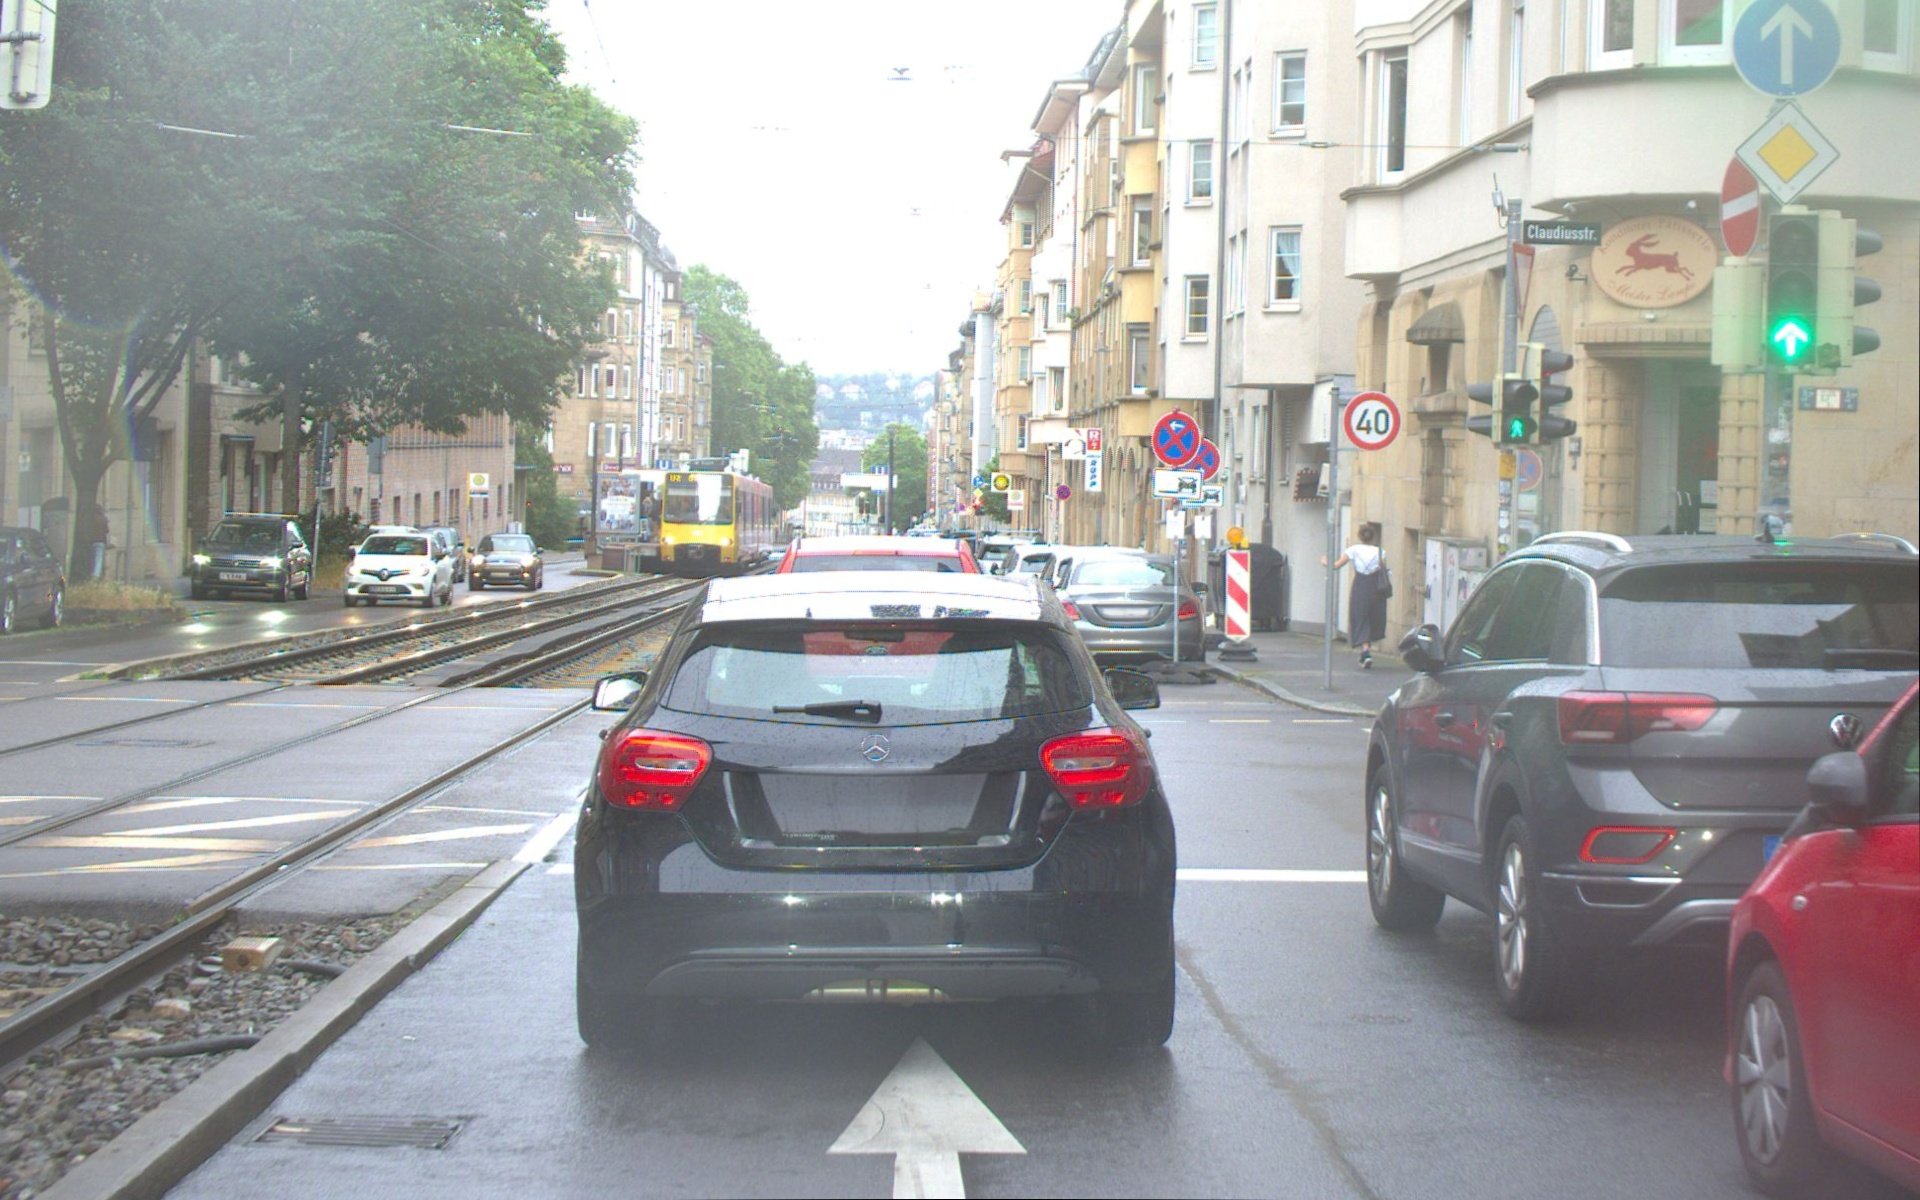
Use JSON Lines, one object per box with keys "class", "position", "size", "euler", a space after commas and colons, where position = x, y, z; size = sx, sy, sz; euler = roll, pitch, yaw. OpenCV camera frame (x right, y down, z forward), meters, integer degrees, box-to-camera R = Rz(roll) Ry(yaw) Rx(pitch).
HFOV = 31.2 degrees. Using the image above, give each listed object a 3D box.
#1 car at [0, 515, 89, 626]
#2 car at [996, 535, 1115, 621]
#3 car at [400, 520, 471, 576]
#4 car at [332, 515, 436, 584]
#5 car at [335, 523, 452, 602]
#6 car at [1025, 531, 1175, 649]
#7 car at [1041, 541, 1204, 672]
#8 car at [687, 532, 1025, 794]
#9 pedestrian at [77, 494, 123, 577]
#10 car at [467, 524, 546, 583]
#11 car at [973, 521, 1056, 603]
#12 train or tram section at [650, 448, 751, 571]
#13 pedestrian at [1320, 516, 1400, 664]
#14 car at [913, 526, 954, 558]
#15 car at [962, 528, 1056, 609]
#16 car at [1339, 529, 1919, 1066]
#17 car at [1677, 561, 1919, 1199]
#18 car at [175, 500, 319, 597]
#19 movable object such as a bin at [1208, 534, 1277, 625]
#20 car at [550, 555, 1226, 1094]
{"class": "car", "position": [-13.480, -0.409, 47.538], "size": [1.780, 1.455, 4.979], "euler": [1, 0, -2]}
{"class": "car", "position": [1.579, -0.379, 58.287], "size": [1.789, 1.381, 4.395], "euler": [1, 0, -1]}
{"class": "car", "position": [-14.403, -1.443, 94.571], "size": [1.572, 1.461, 3.045], "euler": [2, 1, -2]}
{"class": "car", "position": [-14.333, -1.285, 85.749], "size": [1.961, 1.600, 4.329], "euler": [2, 1, -2]}
{"class": "car", "position": [-11.115, -0.737, 67.703], "size": [1.780, 1.497, 4.063], "euler": [1, 0, -2]}
{"class": "car", "position": [1.792, -0.141, 45.298], "size": [1.712, 1.463, 4.774], "euler": [1, 0, -1]}
{"class": "car", "position": [1.833, 0.056, 39.932], "size": [1.711, 1.405, 4.817], "euler": [1, 0, 1]}
{"class": "car", "position": [-0.655, 0.347, 22.828], "size": [1.993, 1.520, 4.246], "euler": [2, 1, -1]}
{"class": "pedestrian", "position": [-17.311, -1.300, 69.202], "size": [0.728, 1.657, 0.771], "euler": [1, 1, -1]}
{"class": "car", "position": [-11.485, -1.192, 87.148], "size": [1.653, 1.457, 3.735], "euler": [0, 1, -2]}
{"class": "car", "position": [1.193, -0.844, 77.003], "size": [1.778, 1.744, 4.549], "euler": [1, 0, 0]}
{"class": "train or tram section", "position": [-9.093, -3.187, 122.218], "size": [2.745, 4.048, 17.216], "euler": [1, 1, -2]}
{"class": "pedestrian", "position": [4.597, -0.116, 39.554], "size": [0.804, 1.681, 0.754], "euler": [1, 0, -1]}
{"class": "car", "position": [-1.303, -2.867, 169.839], "size": [1.887, 1.520, 4.245], "euler": [2, 1, 1]}
{"class": "car", "position": [1.030, -0.642, 70.944], "size": [1.841, 1.602, 4.760], "euler": [1, 0, 1]}
{"class": "car", "position": [2.534, 0.561, 12.094], "size": [1.867, 1.543, 3.991], "euler": [2, 1, -1]}
{"class": "car", "position": [2.761, 0.680, 6.853], "size": [1.705, 1.448, 3.533], "euler": [2, 1, -3]}
{"class": "car", "position": [-14.108, -1.053, 68.275], "size": [1.953, 1.736, 4.780], "euler": [4, 1, -2]}
{"class": "movable object such as a bin", "position": [4.612, -0.331, 56.162], "size": [0.980, 1.463, 1.273], "euler": [1, 0, -1]}
{"class": "car", "position": [-0.222, 0.592, 11.405], "size": [1.834, 1.448, 3.902], "euler": [1, 1, -1]}
